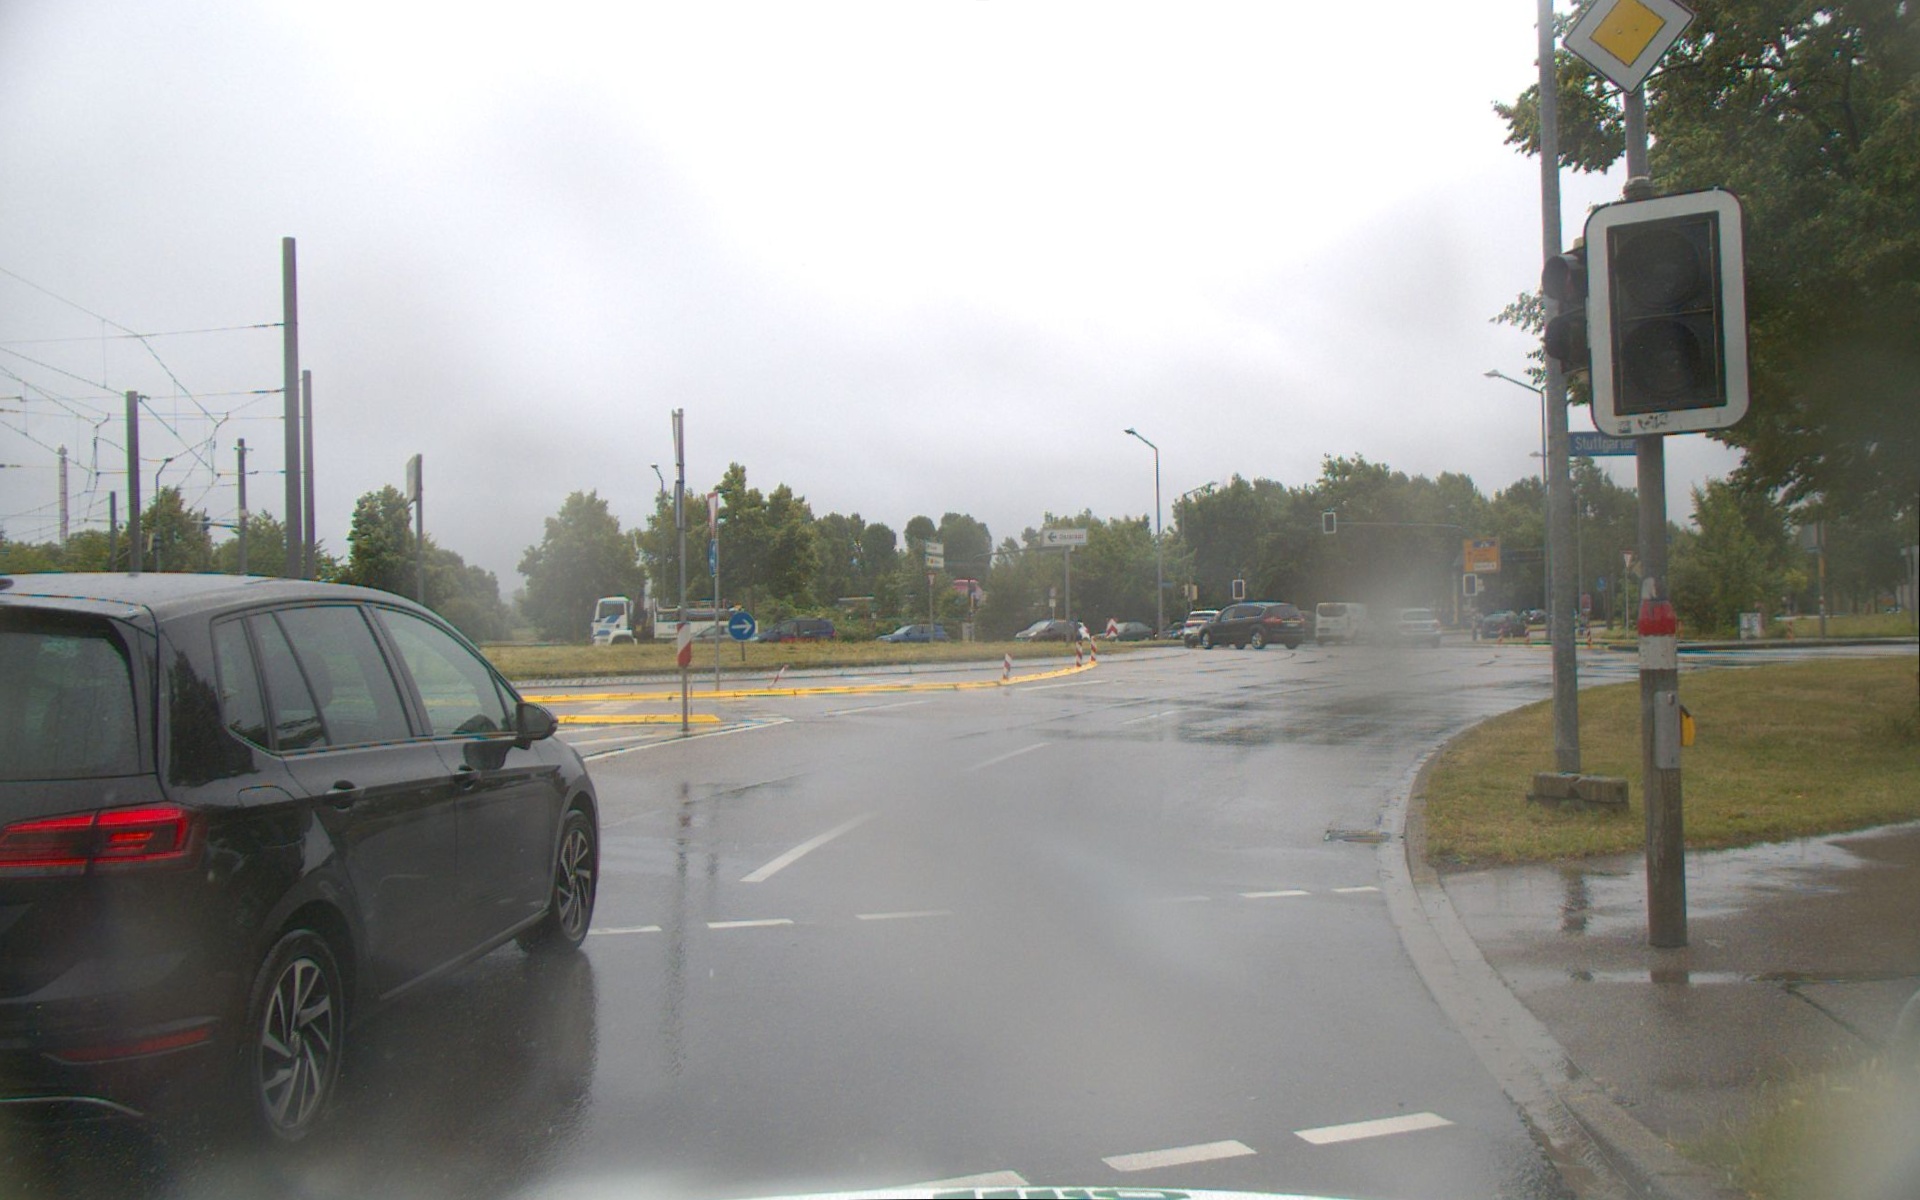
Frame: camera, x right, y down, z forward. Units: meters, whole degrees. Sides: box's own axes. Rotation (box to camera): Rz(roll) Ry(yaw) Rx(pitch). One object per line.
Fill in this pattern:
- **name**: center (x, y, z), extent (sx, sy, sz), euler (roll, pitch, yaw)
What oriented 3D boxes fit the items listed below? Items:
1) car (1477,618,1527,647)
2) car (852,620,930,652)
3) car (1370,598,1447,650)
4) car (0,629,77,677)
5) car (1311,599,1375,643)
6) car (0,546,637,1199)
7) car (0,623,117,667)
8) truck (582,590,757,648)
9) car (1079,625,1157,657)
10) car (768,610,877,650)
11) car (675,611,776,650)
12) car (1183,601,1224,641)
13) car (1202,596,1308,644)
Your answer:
- **car**: center (29.663, 1.767, 90.468), extent (1.661, 1.518, 3.238), euler (-2, 0, 37)
- **car**: center (-3.719, 1.929, 88.772), extent (3.921, 1.676, 1.782), euler (1, -1, -15)
- **car**: center (16.903, 0.901, 62.522), extent (1.746, 1.842, 4.839), euler (-1, -1, 2)
- **car**: center (-36.012, 1.975, 62.030), extent (1.742, 1.774, 4.847), euler (0, -1, 36)
- **car**: center (18.730, 1.026, 80.751), extent (1.752, 2.072, 3.987), euler (0, -1, 34)
- **car**: center (-2.486, 0.684, 5.808), extent (1.746, 1.544, 4.332), euler (1, -1, 1)
- **car**: center (-37.316, 1.866, 68.250), extent (1.800, 1.754, 4.146), euler (0, -1, 38)
- **truck**: center (-14.765, 0.989, 84.090), extent (8.622, 2.759, 1.992), euler (1, -1, -15)
- **car**: center (8.707, 2.268, 91.404), extent (3.927, 1.676, 1.779), euler (1, -1, -19)
- **car**: center (-6.430, 1.401, 77.471), extent (4.800, 1.774, 1.759), euler (2, -1, -31)
- **car**: center (-11.407, 1.475, 80.243), extent (4.763, 1.774, 1.773), euler (1, -1, -11)
- **car**: center (10.622, 0.940, 72.423), extent (1.645, 1.676, 3.949), euler (1, -1, 7)
- **car**: center (10.636, 0.720, 59.796), extent (1.762, 1.676, 3.965), euler (2, -1, -27)
